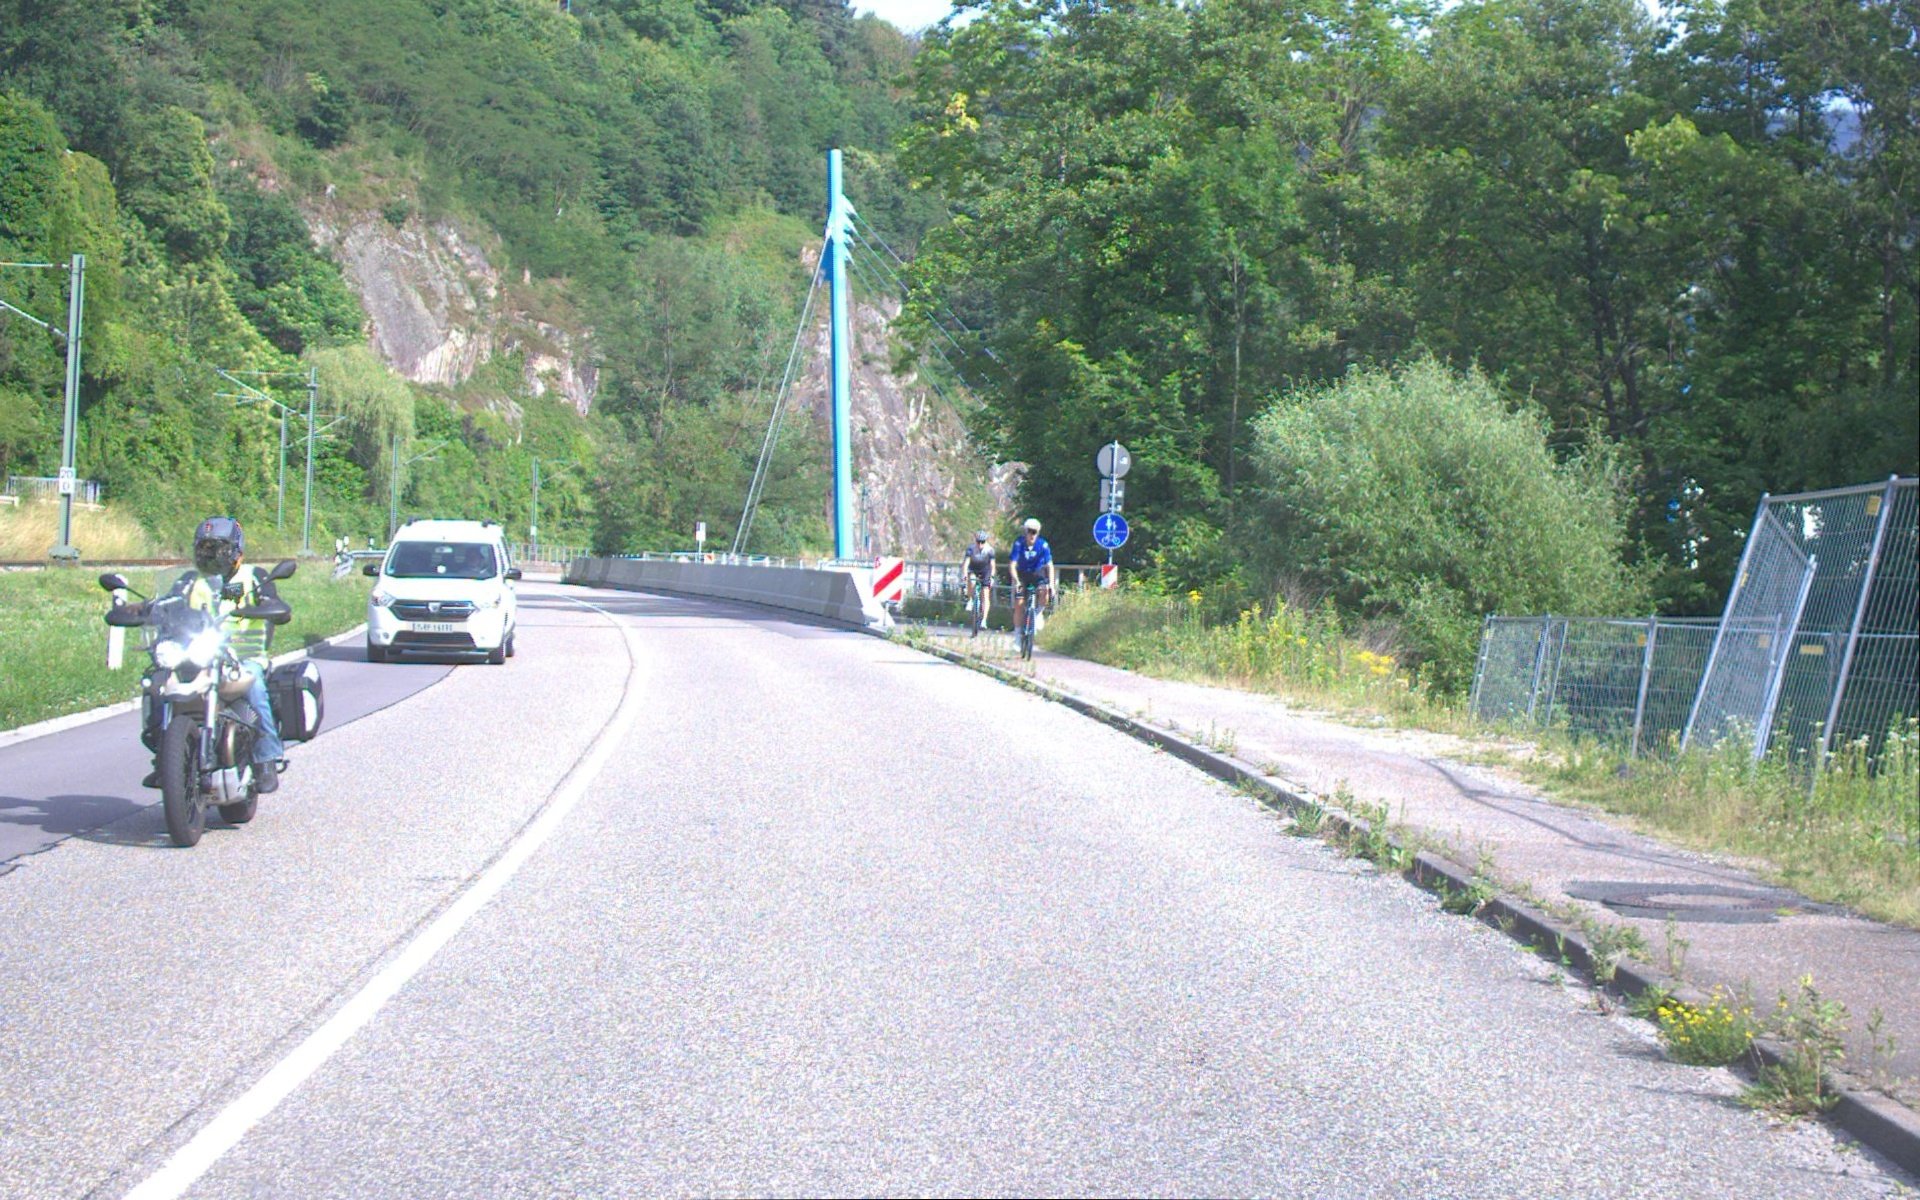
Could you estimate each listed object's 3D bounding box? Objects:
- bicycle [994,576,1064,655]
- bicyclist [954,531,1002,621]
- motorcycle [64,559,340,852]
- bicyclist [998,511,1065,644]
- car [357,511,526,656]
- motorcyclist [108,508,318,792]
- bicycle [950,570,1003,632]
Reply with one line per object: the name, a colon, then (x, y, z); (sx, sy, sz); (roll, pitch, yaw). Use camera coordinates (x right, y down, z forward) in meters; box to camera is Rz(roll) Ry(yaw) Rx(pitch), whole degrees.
bicycle: (0.870, 0.187, 43.773); (0.648, 0.939, 1.848); (3, 1, -5)
bicyclist: (0.290, -0.386, 54.903); (0.592, 1.396, 0.762); (4, 1, -6)
motorcycle: (-3.891, 0.498, 17.867); (0.862, 1.378, 2.403); (1, 1, 1)
bicyclist: (0.904, -0.293, 43.828); (0.641, 1.648, 0.808); (4, 1, -6)
car: (-6.632, -0.255, 44.371); (1.870, 1.775, 4.600); (0, 1, -5)
motorcyclist: (-3.883, 0.242, 17.932); (0.858, 1.418, 0.964); (1, 2, 1)
bicycle: (0.262, 0.004, 54.900); (0.600, 0.913, 1.848); (4, 1, -5)
